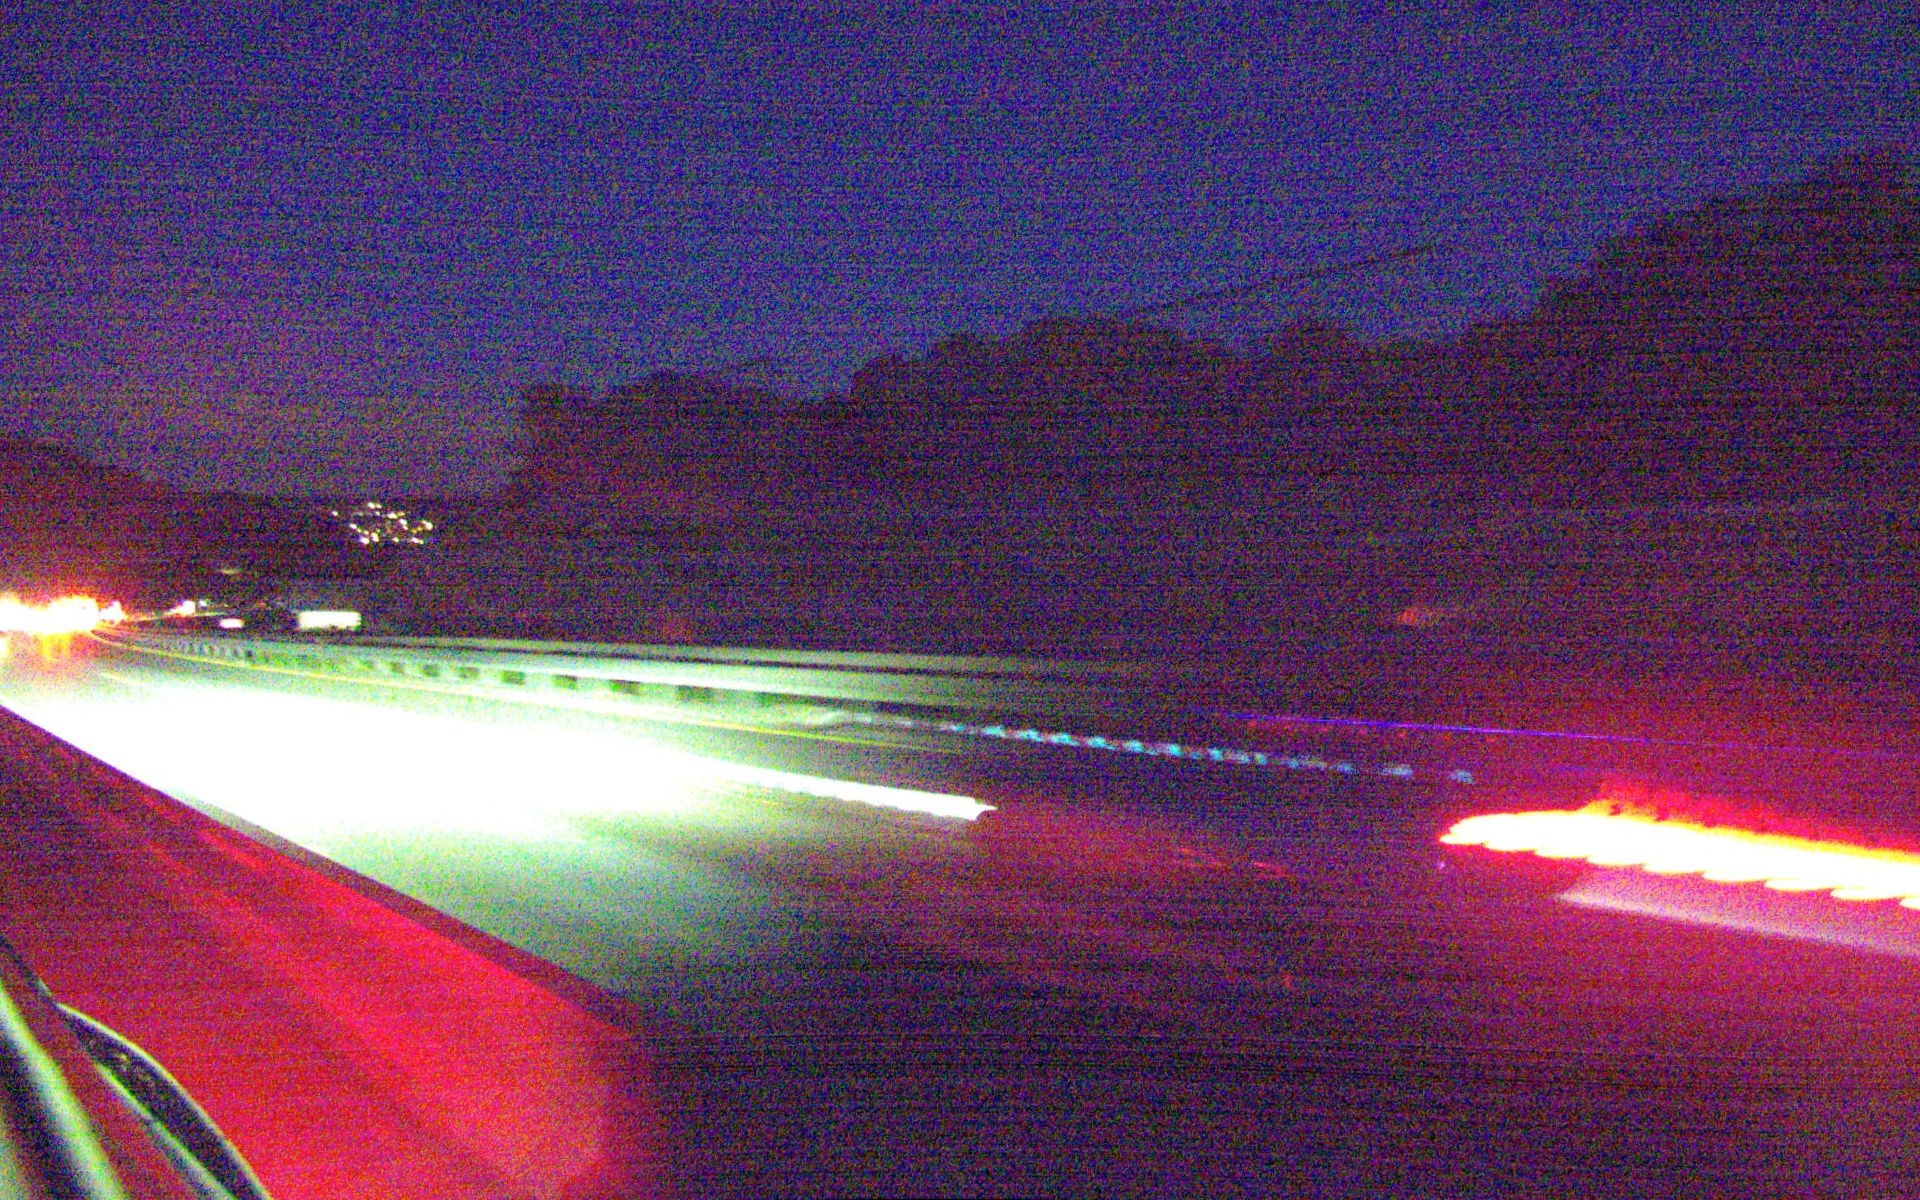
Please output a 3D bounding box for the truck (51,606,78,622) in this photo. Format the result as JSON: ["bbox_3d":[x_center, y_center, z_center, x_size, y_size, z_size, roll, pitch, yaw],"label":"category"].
[{"bbox_3d":[-137.931,2.218,155.908,2.388,2.443,7.108,1,-2,-36],"label":"truck"}]

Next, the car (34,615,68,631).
[{"bbox_3d":[-81.308,2.078,90.470,4.953,1.437,1.891,-2,-2,44],"label":"car"}]

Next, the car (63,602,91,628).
[{"bbox_3d":[-106.487,1.781,122.091,2.455,3.129,7.397,1,-1,-41],"label":"car"}]

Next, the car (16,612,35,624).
[{"bbox_3d":[-135.997,2.568,147.305,1.665,1.641,4.732,2,-3,-38],"label":"car"}]

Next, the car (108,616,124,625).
[{"bbox_3d":[-130.295,3.145,156.227,1.662,1.470,4.210,1,-1,-36],"label":"car"}]

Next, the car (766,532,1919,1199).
[{"bbox_3d":[1.485,0.648,3.351,4.522,1.527,1.799,0,-1,42],"label":"car"}]

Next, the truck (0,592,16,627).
[{"bbox_3d":[-122.468,1.109,127.873,2.926,4.307,17.182,1,-1,-37],"label":"truck"}]

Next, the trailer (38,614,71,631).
[{"bbox_3d":[-78.336,1.993,87.569,3.351,1.437,1.862,-2,-2,44],"label":"trailer"}]
